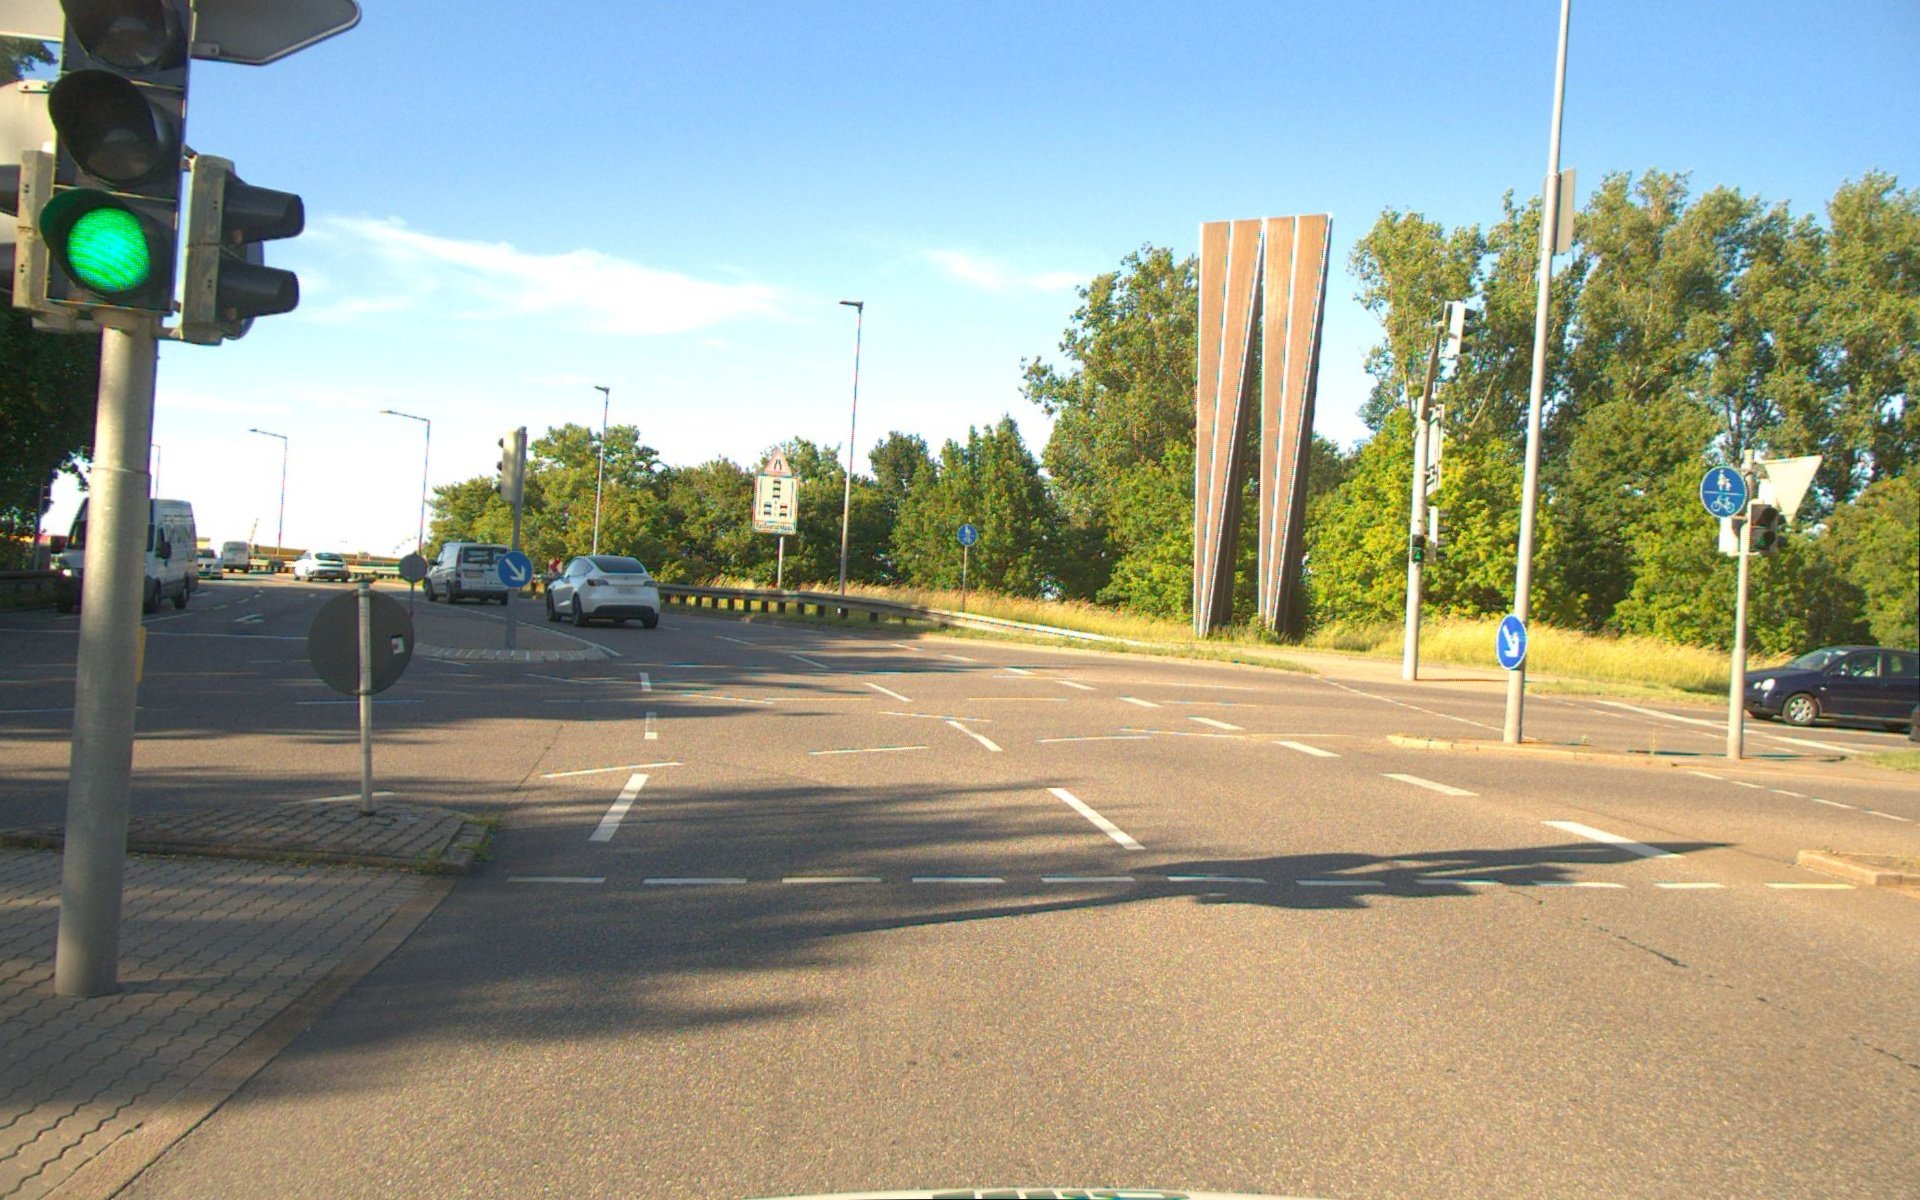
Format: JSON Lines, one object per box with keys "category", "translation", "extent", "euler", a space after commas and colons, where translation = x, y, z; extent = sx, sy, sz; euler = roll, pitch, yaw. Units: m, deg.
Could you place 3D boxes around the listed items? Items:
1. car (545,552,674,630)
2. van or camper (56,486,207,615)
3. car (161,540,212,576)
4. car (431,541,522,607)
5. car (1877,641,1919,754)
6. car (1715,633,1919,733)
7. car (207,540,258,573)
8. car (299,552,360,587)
{"category": "car", "translation": [-8.398, -0.242, 39.375], "extent": [1.970, 1.668, 4.093], "euler": [3, 0, -27]}
{"category": "van or camper", "translation": [-19.424, -1.133, 39.099], "extent": [2.017, 2.719, 6.900], "euler": [1, 1, -17]}
{"category": "car", "translation": [-35.879, -1.964, 76.664], "extent": [1.848, 1.500, 3.874], "euler": [3, 1, -28]}
{"category": "car", "translation": [-15.331, -0.831, 52.294], "extent": [1.970, 1.912, 4.213], "euler": [3, 0, -27]}
{"category": "car", "translation": [15.199, 1.489, 22.413], "extent": [4.367, 1.489, 2.000], "euler": [4, 1, 0]}
{"category": "car", "translation": [15.810, 1.490, 29.658], "extent": [3.669, 1.427, 1.695], "euler": [5, 2, 2]}
{"category": "car", "translation": [-42.295, -2.522, 96.078], "extent": [1.952, 1.728, 3.953], "euler": [3, 1, -34]}
{"category": "car", "translation": [-30.553, -1.494, 80.089], "extent": [1.950, 1.500, 4.109], "euler": [3, 1, -32]}
